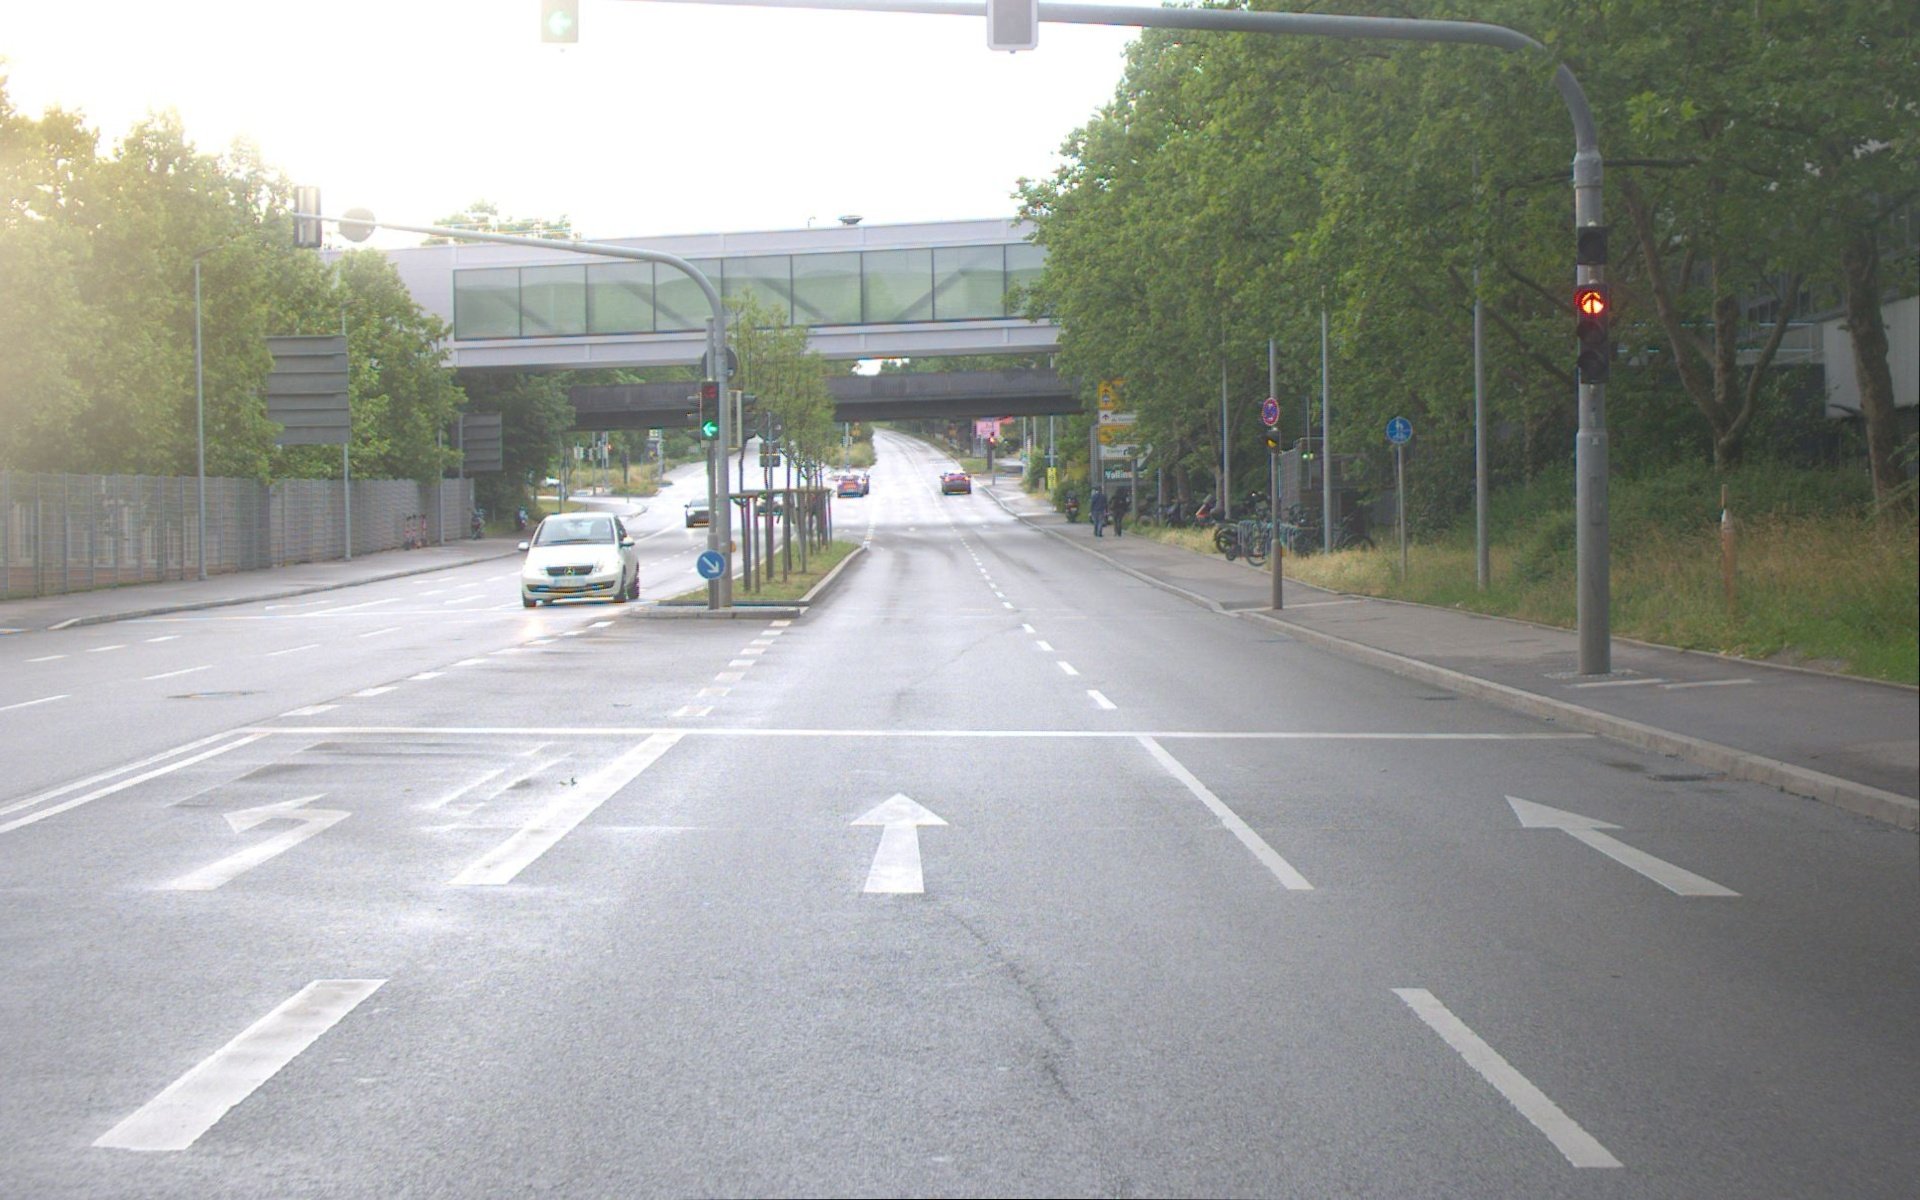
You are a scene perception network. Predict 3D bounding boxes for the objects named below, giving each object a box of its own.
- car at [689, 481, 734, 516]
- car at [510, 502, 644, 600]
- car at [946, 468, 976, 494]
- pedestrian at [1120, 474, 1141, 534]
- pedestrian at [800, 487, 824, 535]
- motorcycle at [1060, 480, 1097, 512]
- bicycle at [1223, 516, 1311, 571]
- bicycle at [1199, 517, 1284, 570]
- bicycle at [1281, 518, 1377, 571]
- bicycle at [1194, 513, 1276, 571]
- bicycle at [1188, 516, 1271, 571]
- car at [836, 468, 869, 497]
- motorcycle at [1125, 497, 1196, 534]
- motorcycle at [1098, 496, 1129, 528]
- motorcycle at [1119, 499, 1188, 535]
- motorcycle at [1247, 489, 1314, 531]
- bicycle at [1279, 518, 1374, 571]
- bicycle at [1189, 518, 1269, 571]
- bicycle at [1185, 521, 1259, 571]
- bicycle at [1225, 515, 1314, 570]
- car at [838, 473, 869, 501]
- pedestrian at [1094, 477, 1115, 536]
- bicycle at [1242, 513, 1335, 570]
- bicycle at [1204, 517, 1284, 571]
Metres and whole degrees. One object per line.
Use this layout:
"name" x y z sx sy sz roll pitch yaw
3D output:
"car" -12.102 -4.940 167.577 1.877 1.619 3.779 -1 1 0
"car" -6.672 -0.874 60.197 1.877 1.619 3.779 -1 1 0
"car" 0.068 -7.718 223.147 1.875 1.492 4.068 1 0 0
"pedestrian" 5.819 -3.261 117.130 0.622 2.007 0.605 -2 1 0
"pedestrian" -6.162 -3.714 143.464 0.852 1.997 0.875 -2 1 -9
"motorcycle" 5.007 -4.409 145.678 0.790 1.307 2.377 -2 1 -18
"bicycle" 7.238 -1.338 81.059 1.990 1.237 0.541 1 0 1
"bicycle" 6.832 -1.366 83.386 1.990 1.237 0.541 1 0 1
"bicycle" 7.947 -1.195 74.066 1.990 1.091 0.541 1 0 1
"bicycle" 7.014 -1.488 87.775 1.990 1.425 0.723 1 0 1
"bicycle" 6.744 -1.420 86.101 1.990 1.324 0.576 1 0 1
"car" -7.068 -7.768 227.112 1.993 1.756 4.000 1 0 0
"motorcycle" 6.910 -2.910 118.281 2.369 1.198 0.722 -2 1 8
"motorcycle" 6.287 -3.593 140.616 0.790 1.307 2.377 -2 1 -8
"motorcycle" 6.855 -2.933 121.746 2.369 1.198 0.722 -2 1 8
"motorcycle" 11.861 -3.317 127.185 2.369 1.471 0.722 -2 1 8
"bicycle" 7.946 -1.199 74.635 1.990 1.091 0.541 1 0 1
"bicycle" 6.984 -1.438 89.341 1.990 1.324 0.576 1 0 1
"bicycle" 7.205 -1.484 94.546 1.963 1.324 0.654 1 0 1
"bicycle" 7.194 -1.330 79.852 1.990 1.237 0.541 1 0 1
"car" -7.186 -7.660 232.689 1.884 1.756 3.969 1 0 0
"pedestrian" 4.928 -3.195 117.306 0.622 2.007 0.605 -2 1 0
"bicycle" 7.262 -1.288 76.100 1.990 1.212 0.541 1 0 1
"bicycle" 7.313 -1.437 88.627 1.990 1.324 0.576 1 0 1
